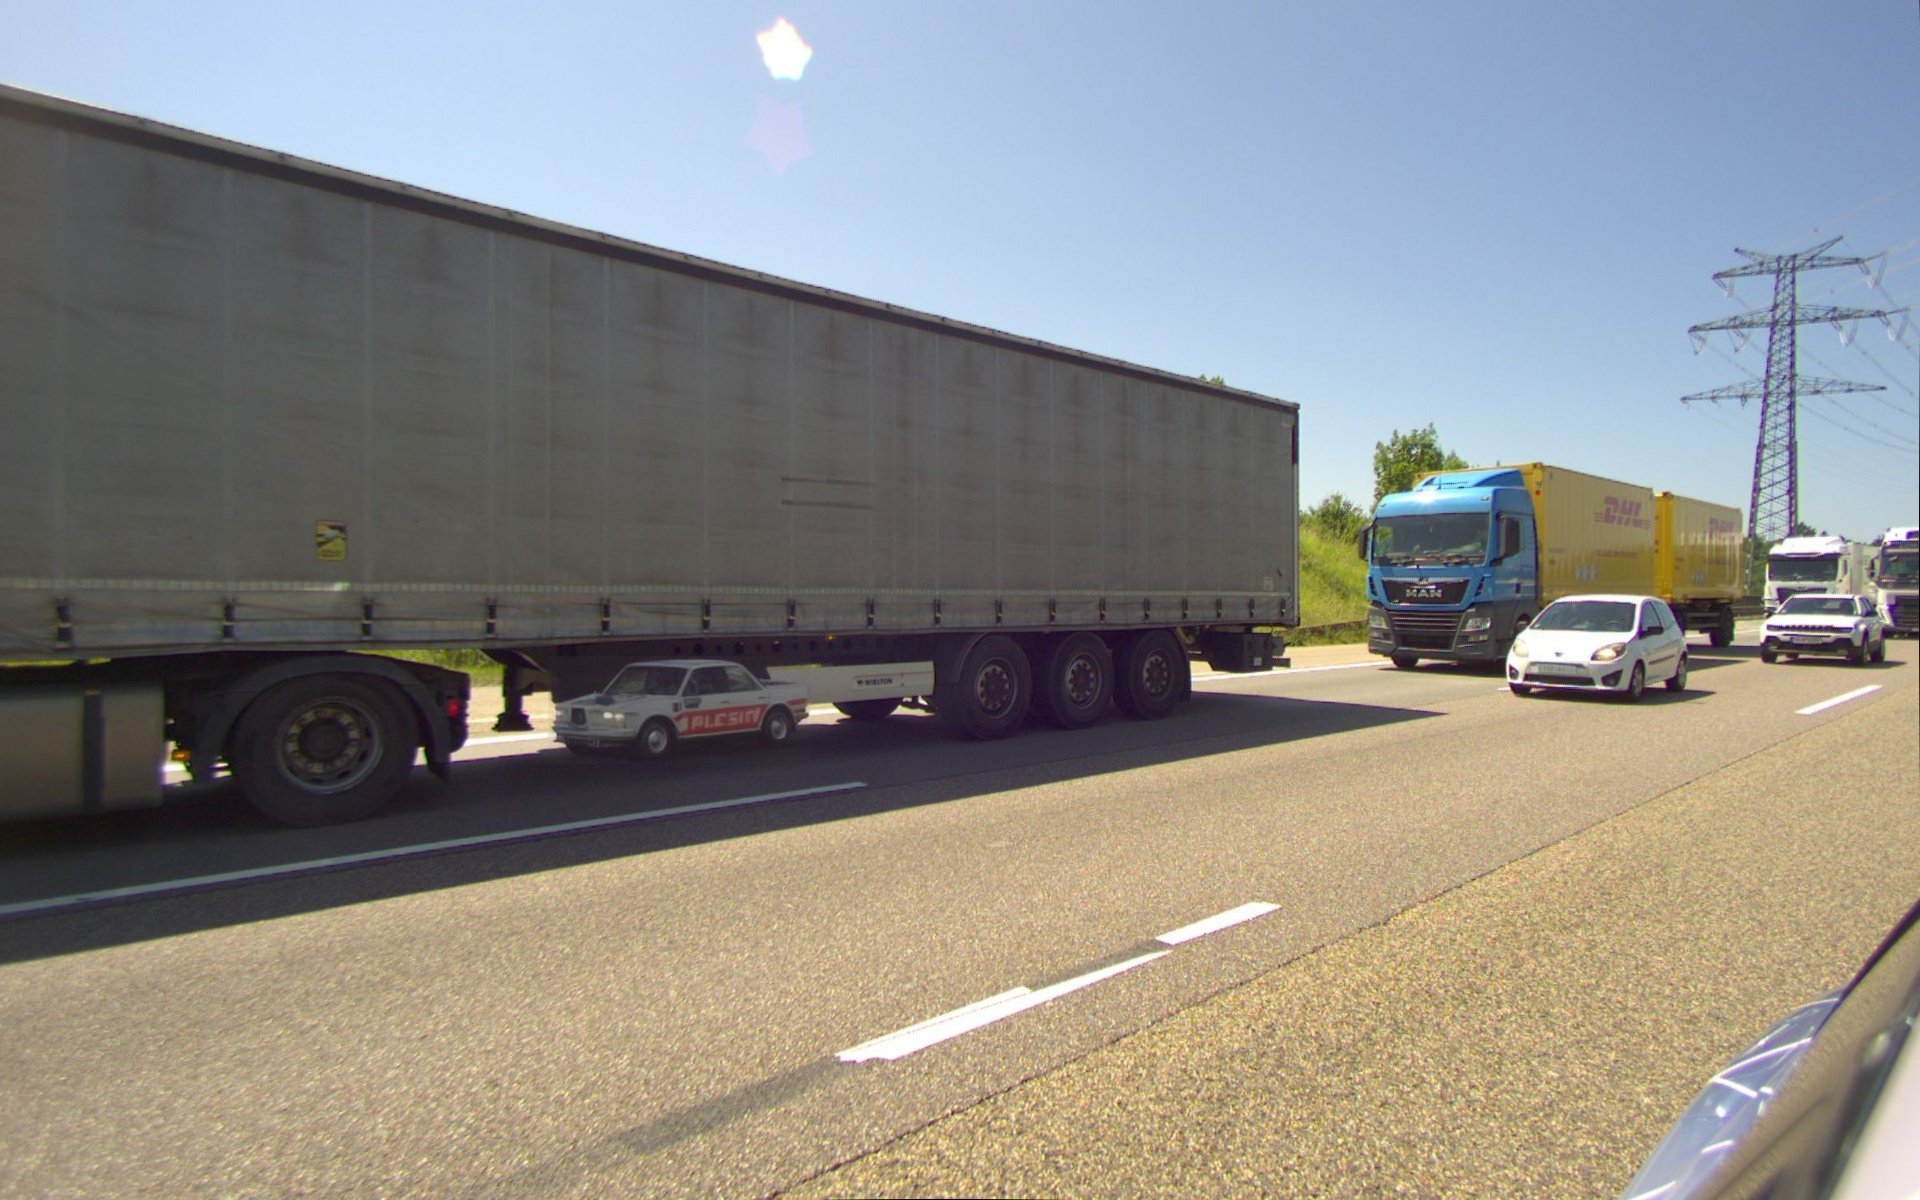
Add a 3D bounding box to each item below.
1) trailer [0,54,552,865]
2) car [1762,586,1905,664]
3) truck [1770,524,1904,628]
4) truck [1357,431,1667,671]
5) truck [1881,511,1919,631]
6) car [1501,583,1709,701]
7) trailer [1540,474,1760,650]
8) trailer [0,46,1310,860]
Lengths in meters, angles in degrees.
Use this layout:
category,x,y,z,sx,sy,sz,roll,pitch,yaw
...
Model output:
category,x,y,z,sx,sy,sz,roll,pitch,yaw
trailer,-6.111,-0.715,5.944,6.299,4.095,2.929,0,0,-41
car,19.368,0.478,22.393,3.783,1.549,1.775,-1,1,-39
truck,37.746,-0.976,43.365,11.098,3.980,2.694,-1,0,-40
truck,12.230,-0.841,21.799,9.780,4.161,2.769,0,0,-42
truck,38.391,-1.013,38.713,14.000,4.090,2.717,0,0,-40
car,9.746,0.517,15.194,3.759,1.529,1.658,-1,1,-41
trailer,19.329,-0.904,28.030,9.212,4.170,2.770,0,0,-41
trailer,-1.389,-0.750,10.106,13.512,4.101,2.967,0,0,-41
